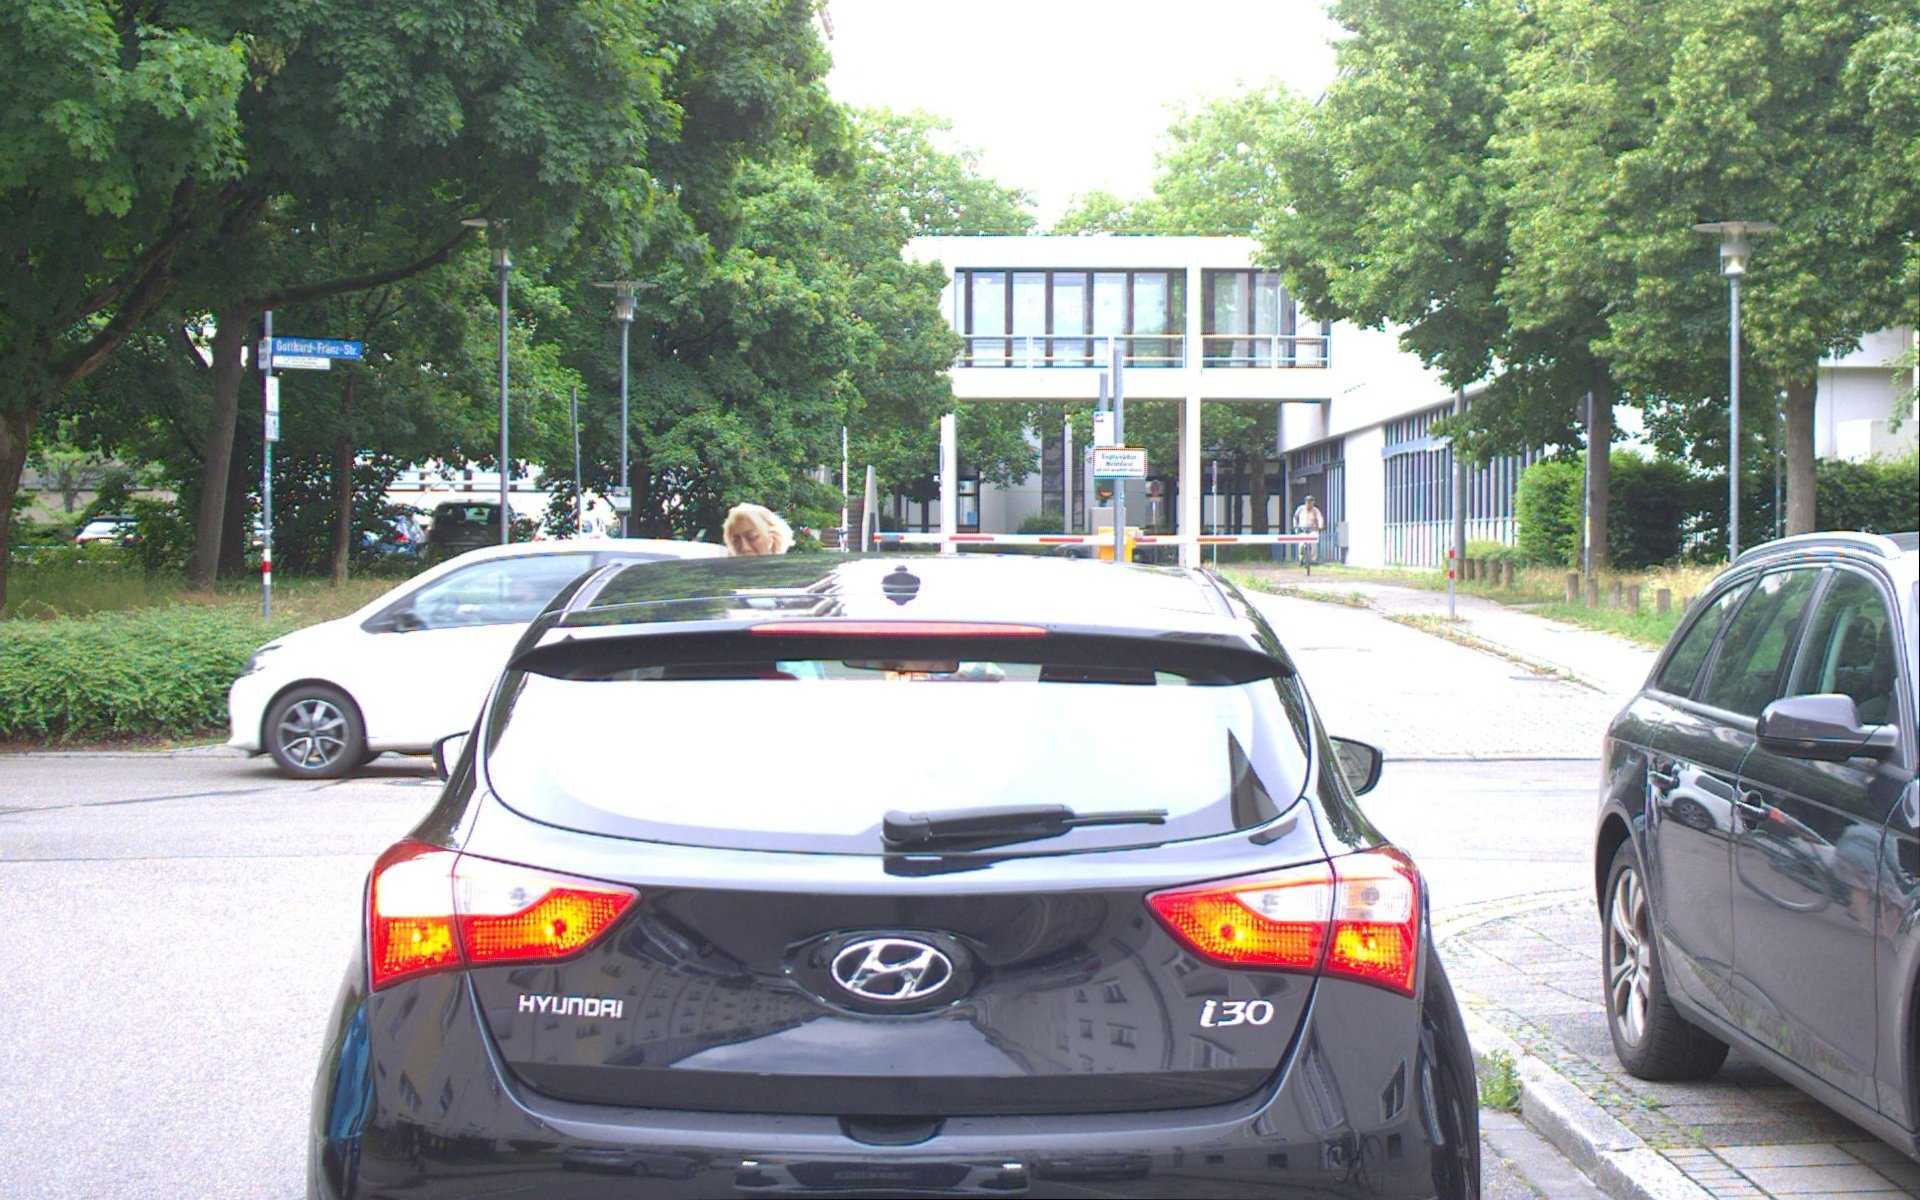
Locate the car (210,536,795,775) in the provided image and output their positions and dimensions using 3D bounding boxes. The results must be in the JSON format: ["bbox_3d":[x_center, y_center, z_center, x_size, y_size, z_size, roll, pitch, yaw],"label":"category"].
[{"bbox_3d":[-2.822,0.326,21.725,3.532,1.432,1.567,0,2,-2],"label":"car"}]

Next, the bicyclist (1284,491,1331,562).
[{"bbox_3d":[8.087,-1.724,80.027,1.017,1.639,0.923,0,2,1],"label":"bicyclist"}]

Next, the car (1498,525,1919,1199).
[{"bbox_3d":[2.602,0.571,7.678,1.860,1.457,4.726,-1,1,-2],"label":"car"}]

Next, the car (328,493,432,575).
[{"bbox_3d":[-13.369,-1.505,79.438,1.993,1.788,4.000,0,0,-4],"label":"car"}]

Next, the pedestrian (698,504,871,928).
[{"bbox_3d":[-0.662,0.422,12.892,0.565,1.544,0.448,-2,2,-7],"label":"pedestrian"}]

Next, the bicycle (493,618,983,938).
[{"bbox_3d":[-0.864,0.667,13.250,1.812,1.115,0.538,-2,2,-8],"label":"bicycle"}]

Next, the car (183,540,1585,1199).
[{"bbox_3d":[-0.187,0.627,6.459,1.846,1.457,3.828,0,1,-3],"label":"car"}]

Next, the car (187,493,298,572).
[{"bbox_3d":[-16.473,-1.530,79.113,1.993,1.722,4.000,0,0,-4],"label":"car"}]

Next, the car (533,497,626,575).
[{"bbox_3d":[-8.773,-1.461,79.495,1.993,1.756,4.001,0,0,-4],"label":"car"}]

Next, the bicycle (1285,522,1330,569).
[{"bbox_3d":[8.073,-1.277,79.935,0.866,1.071,2.142,0,2,1],"label":"bicycle"}]

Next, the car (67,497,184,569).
[{"bbox_3d":[-19.195,-1.554,79.185,1.993,1.612,4.001,0,1,-4],"label":"car"}]
